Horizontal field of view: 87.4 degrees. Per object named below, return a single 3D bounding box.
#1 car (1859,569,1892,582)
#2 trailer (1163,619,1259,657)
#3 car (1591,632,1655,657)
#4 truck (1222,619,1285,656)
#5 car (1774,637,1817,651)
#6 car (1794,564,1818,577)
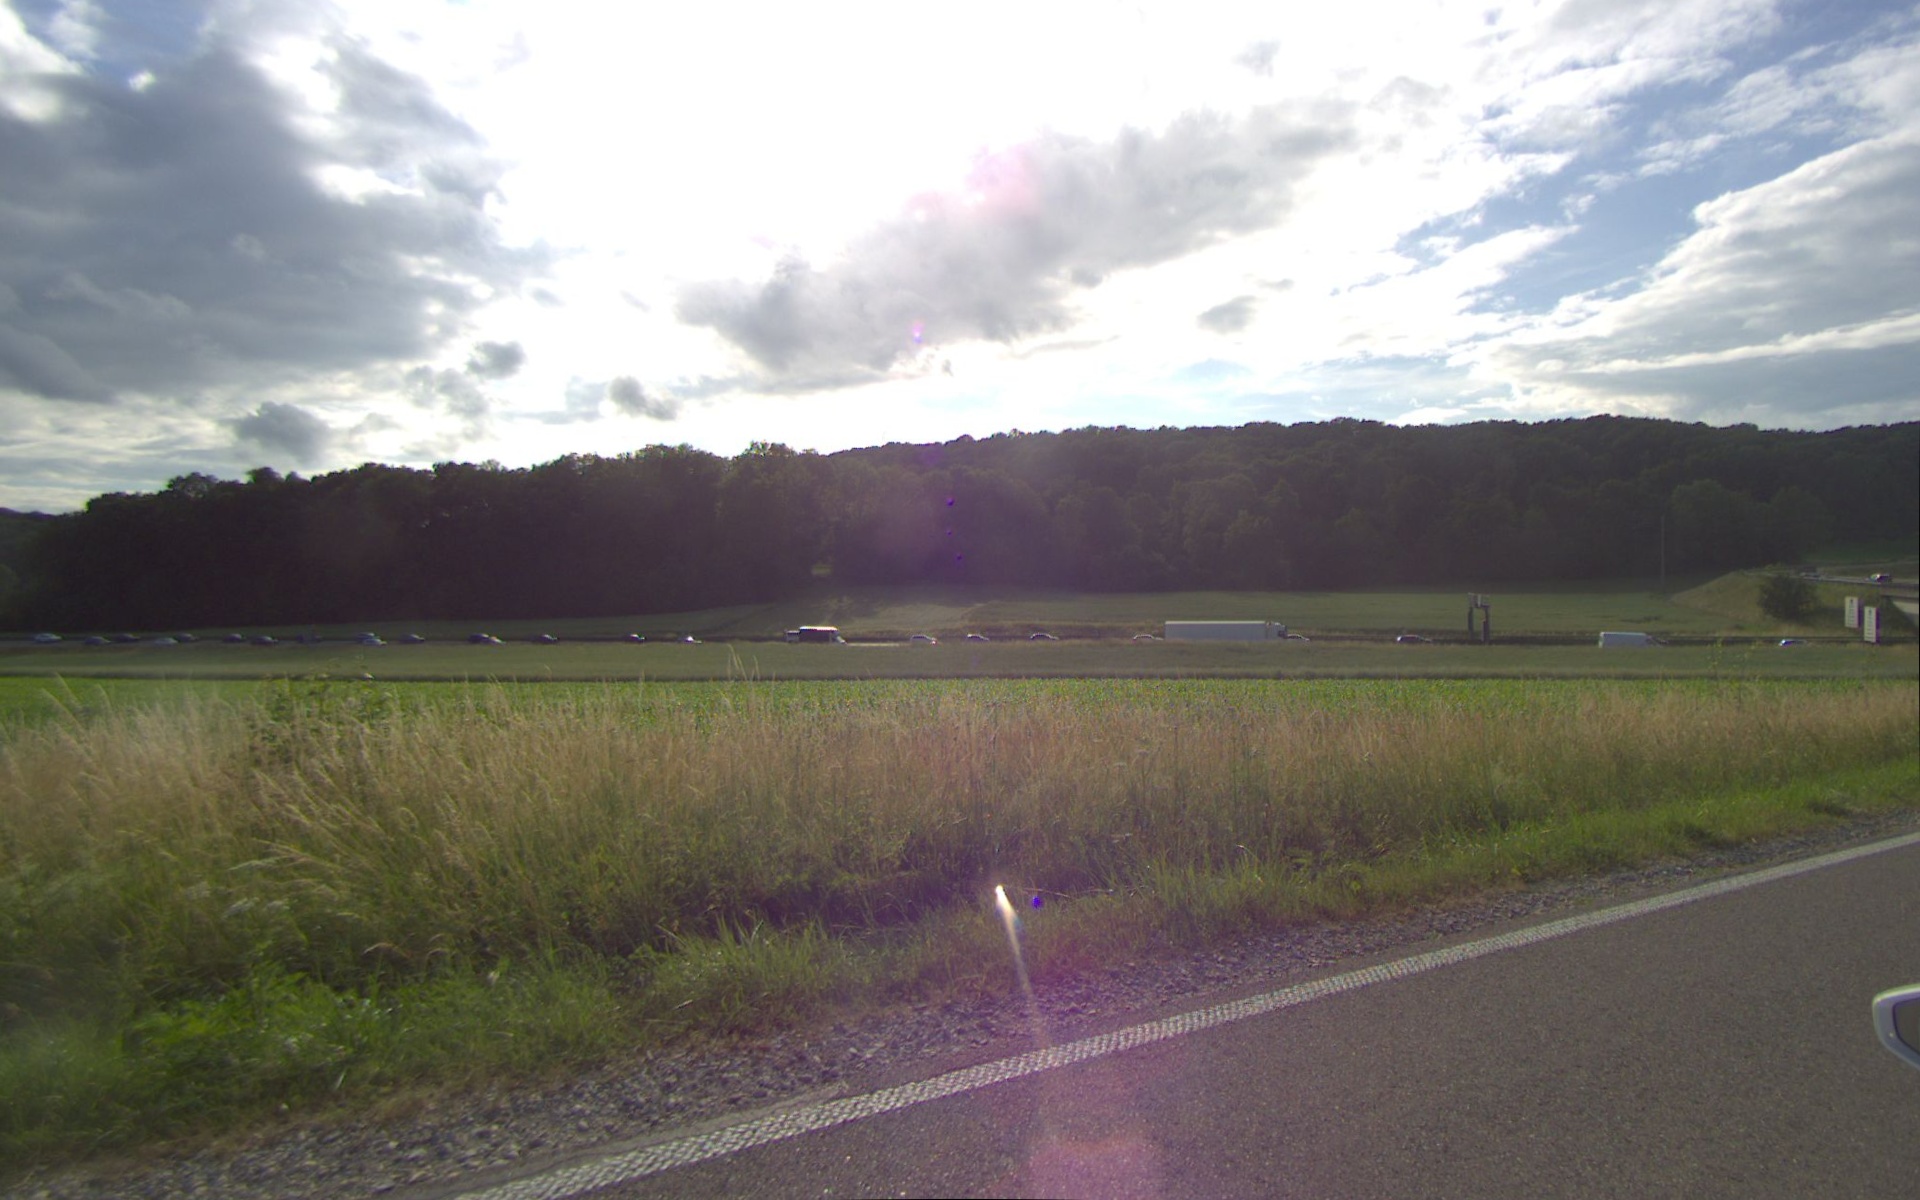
[{"bbox_3d":[126.906,-3.403,139.249,1.961,1.702,4.176,2,3,21],"label":"car"},{"bbox_3d":[34.242,5.243,137.326,12.473,4.529,3.032,-2,4,16],"label":"trailer"},{"bbox_3d":[80.347,5.388,121.841,6.004,2.620,2.372,-2,6,21],"label":"car"},{"bbox_3d":[39.614,5.077,135.725,7.895,4.529,3.029,-2,4,16],"label":"truck"},{"bbox_3d":[96.982,5.099,116.631,3.551,1.654,1.655,-1,-2,23],"label":"car"},{"bbox_3d":[138.059,-4.820,164.015,1.963,1.795,3.996,-4,1,25],"label":"car"}]
